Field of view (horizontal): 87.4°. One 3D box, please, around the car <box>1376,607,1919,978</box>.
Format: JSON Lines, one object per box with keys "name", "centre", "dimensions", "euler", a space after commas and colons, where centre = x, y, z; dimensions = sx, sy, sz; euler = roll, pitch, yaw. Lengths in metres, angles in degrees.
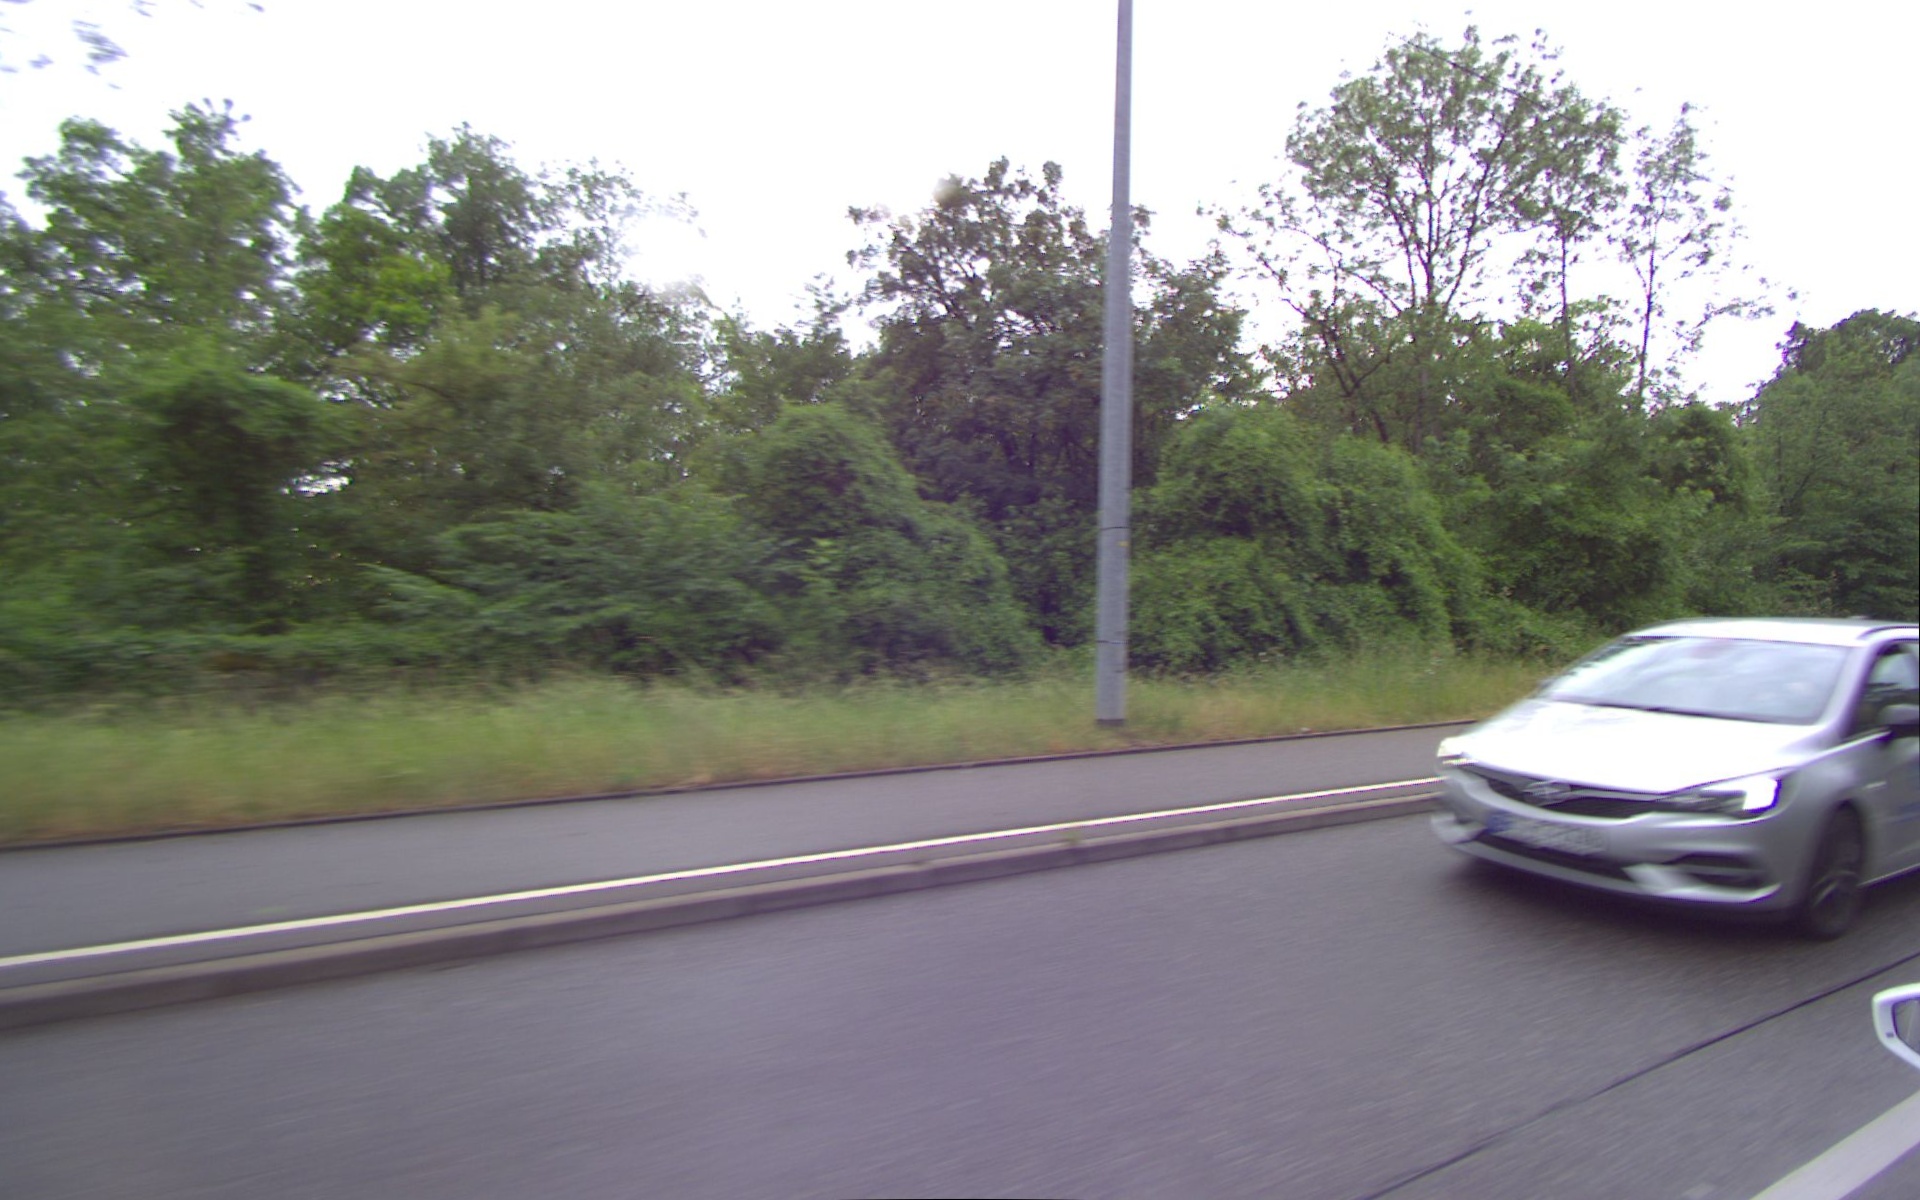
{"name": "car", "centre": [4.687, 0.801, 5.989], "dimensions": [4.422, 1.450, 1.771], "euler": [0, 1, -30]}
